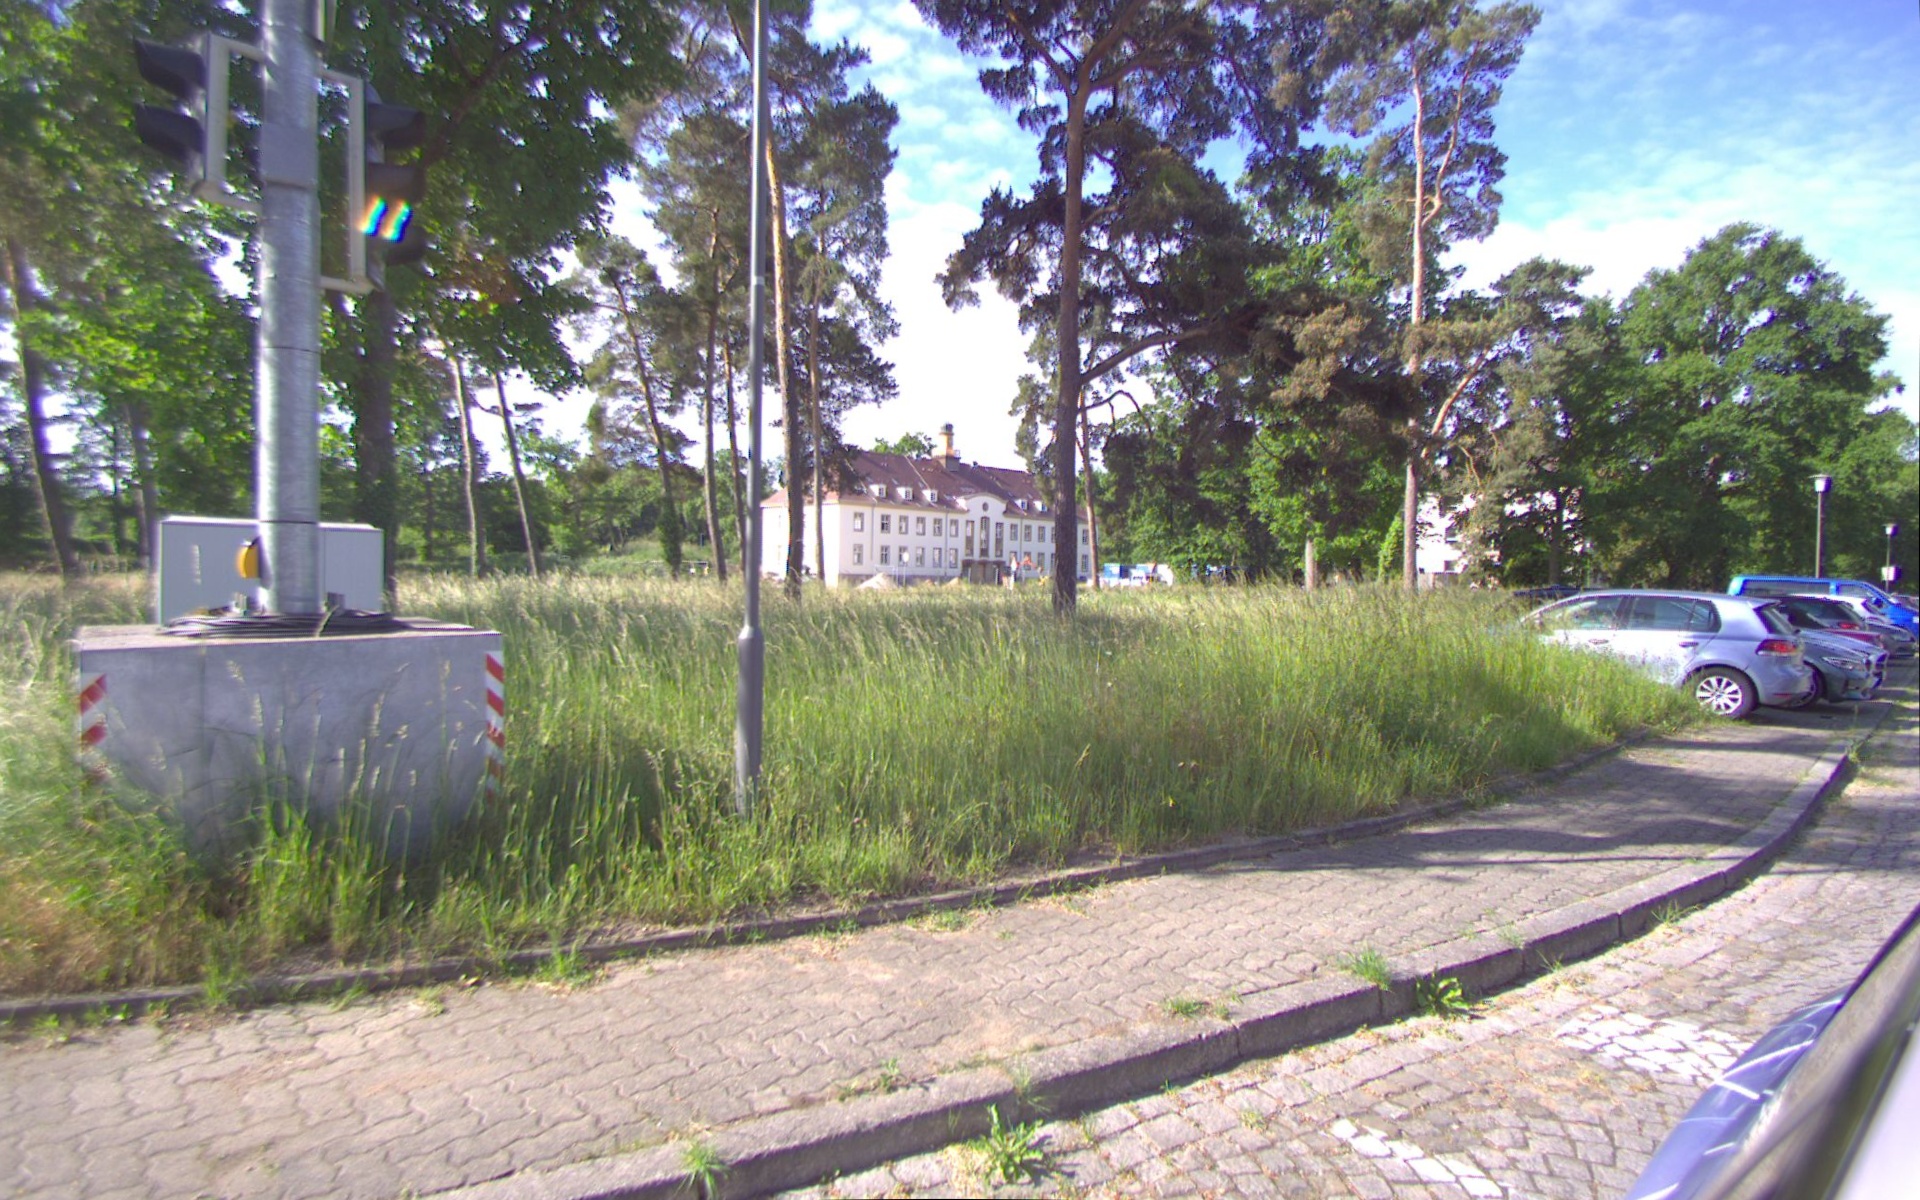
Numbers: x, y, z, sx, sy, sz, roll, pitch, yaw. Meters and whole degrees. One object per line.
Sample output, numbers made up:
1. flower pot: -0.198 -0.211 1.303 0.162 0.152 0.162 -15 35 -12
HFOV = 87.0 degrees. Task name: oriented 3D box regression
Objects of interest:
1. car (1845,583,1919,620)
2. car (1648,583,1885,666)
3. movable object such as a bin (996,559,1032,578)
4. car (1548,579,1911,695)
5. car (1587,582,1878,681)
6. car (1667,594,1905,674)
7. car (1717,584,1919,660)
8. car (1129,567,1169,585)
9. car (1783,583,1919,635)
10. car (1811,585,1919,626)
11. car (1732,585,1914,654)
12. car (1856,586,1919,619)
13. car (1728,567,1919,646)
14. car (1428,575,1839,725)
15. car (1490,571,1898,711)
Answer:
1. car: 45.955 0.065 49.315 1.726 1.763 3.994 -2 0 -40
2. car: 17.083 0.452 21.556 1.523 1.509 3.774 0 2 -44
3. movable object such as a bin: 7.043 -4.074 131.168 1.993 2.351 4.910 3 2 43
4. car: 12.297 0.474 16.402 1.796 1.419 4.417 0 4 -44
5. car: 13.700 0.468 18.113 1.633 1.410 3.913 0 4 -44
6. car: 15.661 0.576 19.293 1.396 1.271 3.352 0 2 -44
7. car: 19.705 0.437 23.073 1.478 1.509 3.629 0 2 -33
8. car: 21.374 -2.713 114.394 4.692 2.038 1.996 0 2 -43
9. car: 31.431 0.273 35.265 1.726 1.660 3.995 0 2 -40
10. car: 38.557 0.206 42.563 1.726 1.537 3.995 0 2 -40
11. car: 21.482 0.429 25.281 1.424 1.509 3.263 0 2 -41
12. car: 49.311 0.113 52.477 1.725 1.635 3.995 -2 0 -39
13. car: 25.210 0.122 29.055 1.966 2.038 4.723 0 2 -42
14. car: 8.394 0.491 12.872 1.840 1.478 4.020 0 3 -44
15. car: 10.326 0.443 14.497 4.496 1.535 1.797 4 3 44
